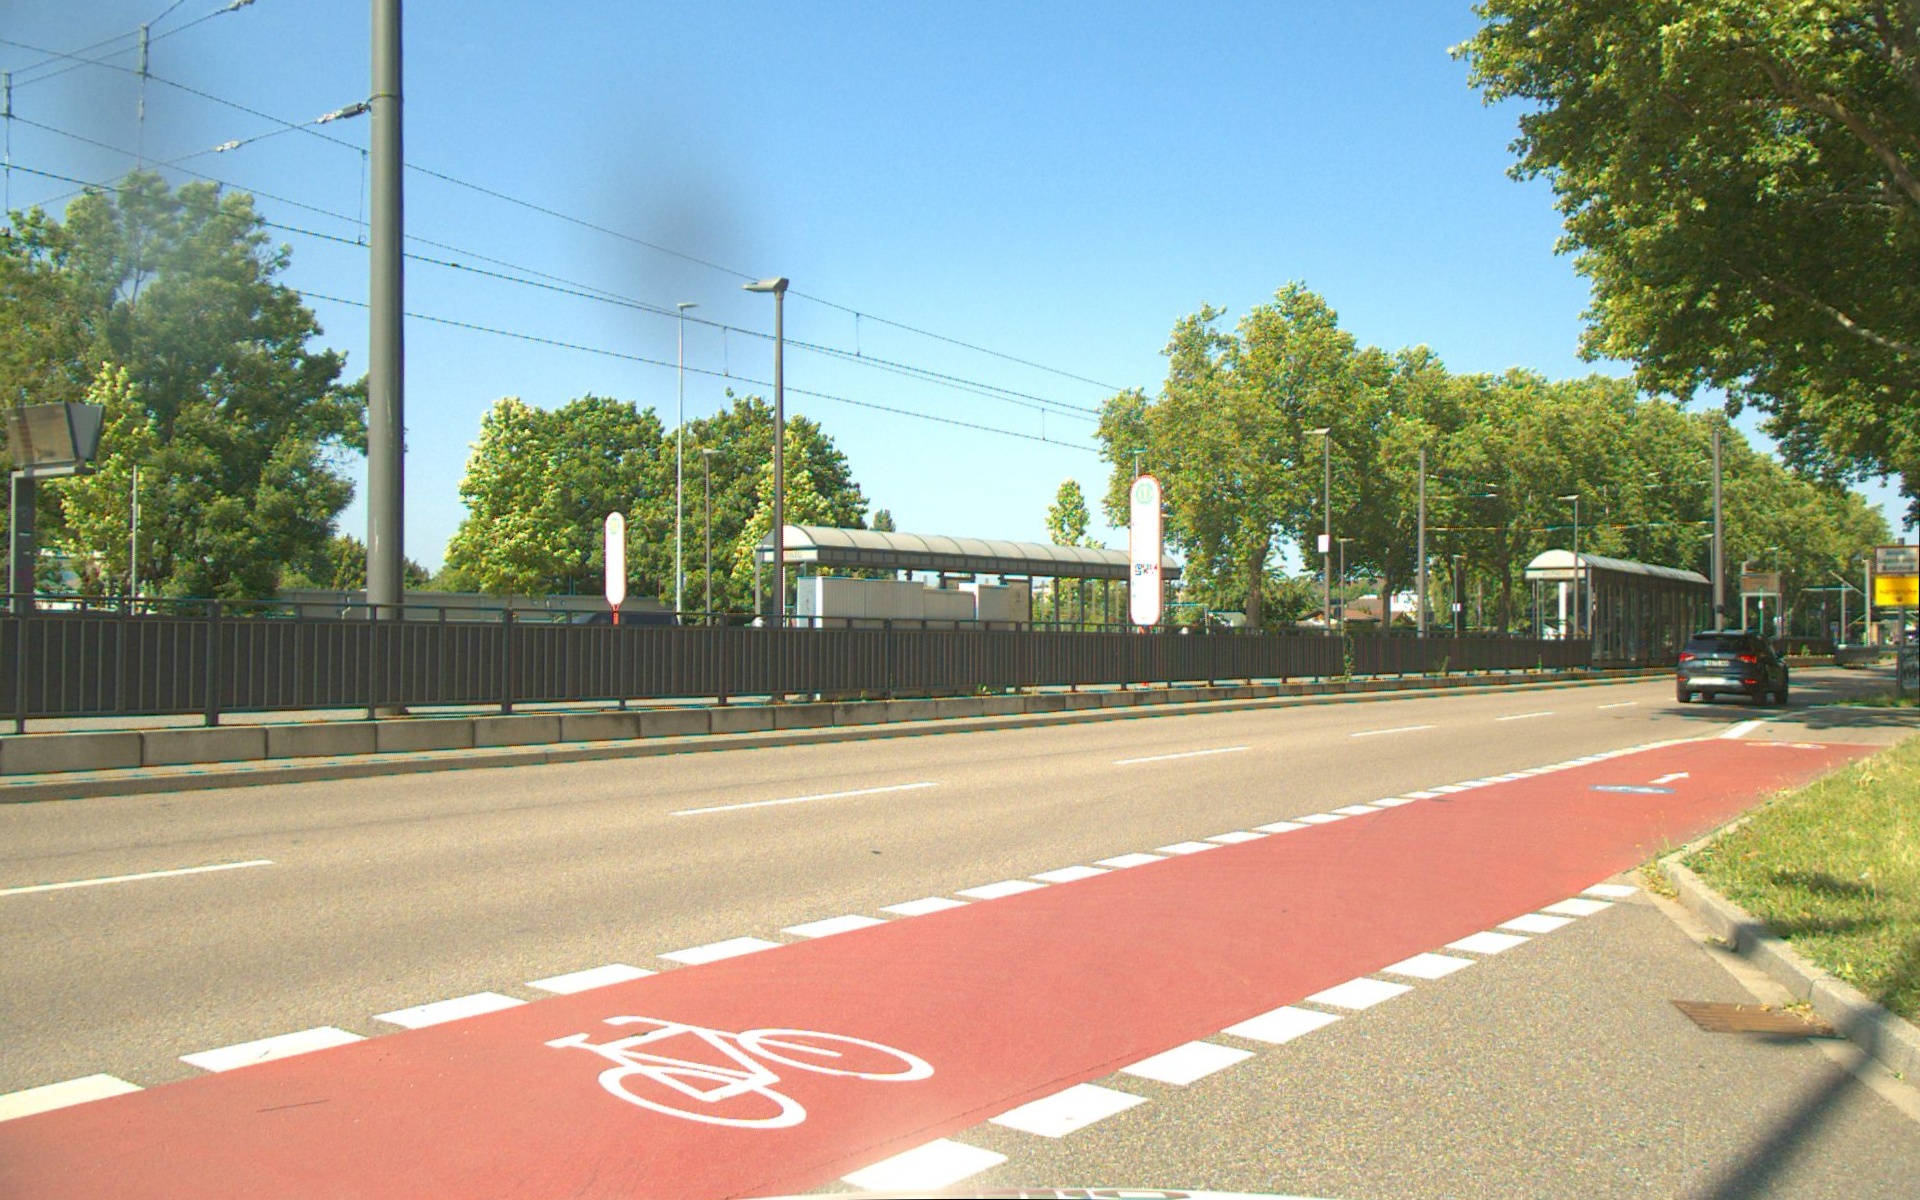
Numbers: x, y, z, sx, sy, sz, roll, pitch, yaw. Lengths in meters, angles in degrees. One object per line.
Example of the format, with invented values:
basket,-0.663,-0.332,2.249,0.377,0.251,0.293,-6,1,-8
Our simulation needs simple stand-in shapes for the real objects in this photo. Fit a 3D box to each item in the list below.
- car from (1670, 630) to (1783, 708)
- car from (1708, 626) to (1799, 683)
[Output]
car,16.326,1.459,35.168,1.641,1.550,3.365,0,-2,35
car,25.312,1.722,52.706,1.895,1.743,4.144,-2,-2,36
